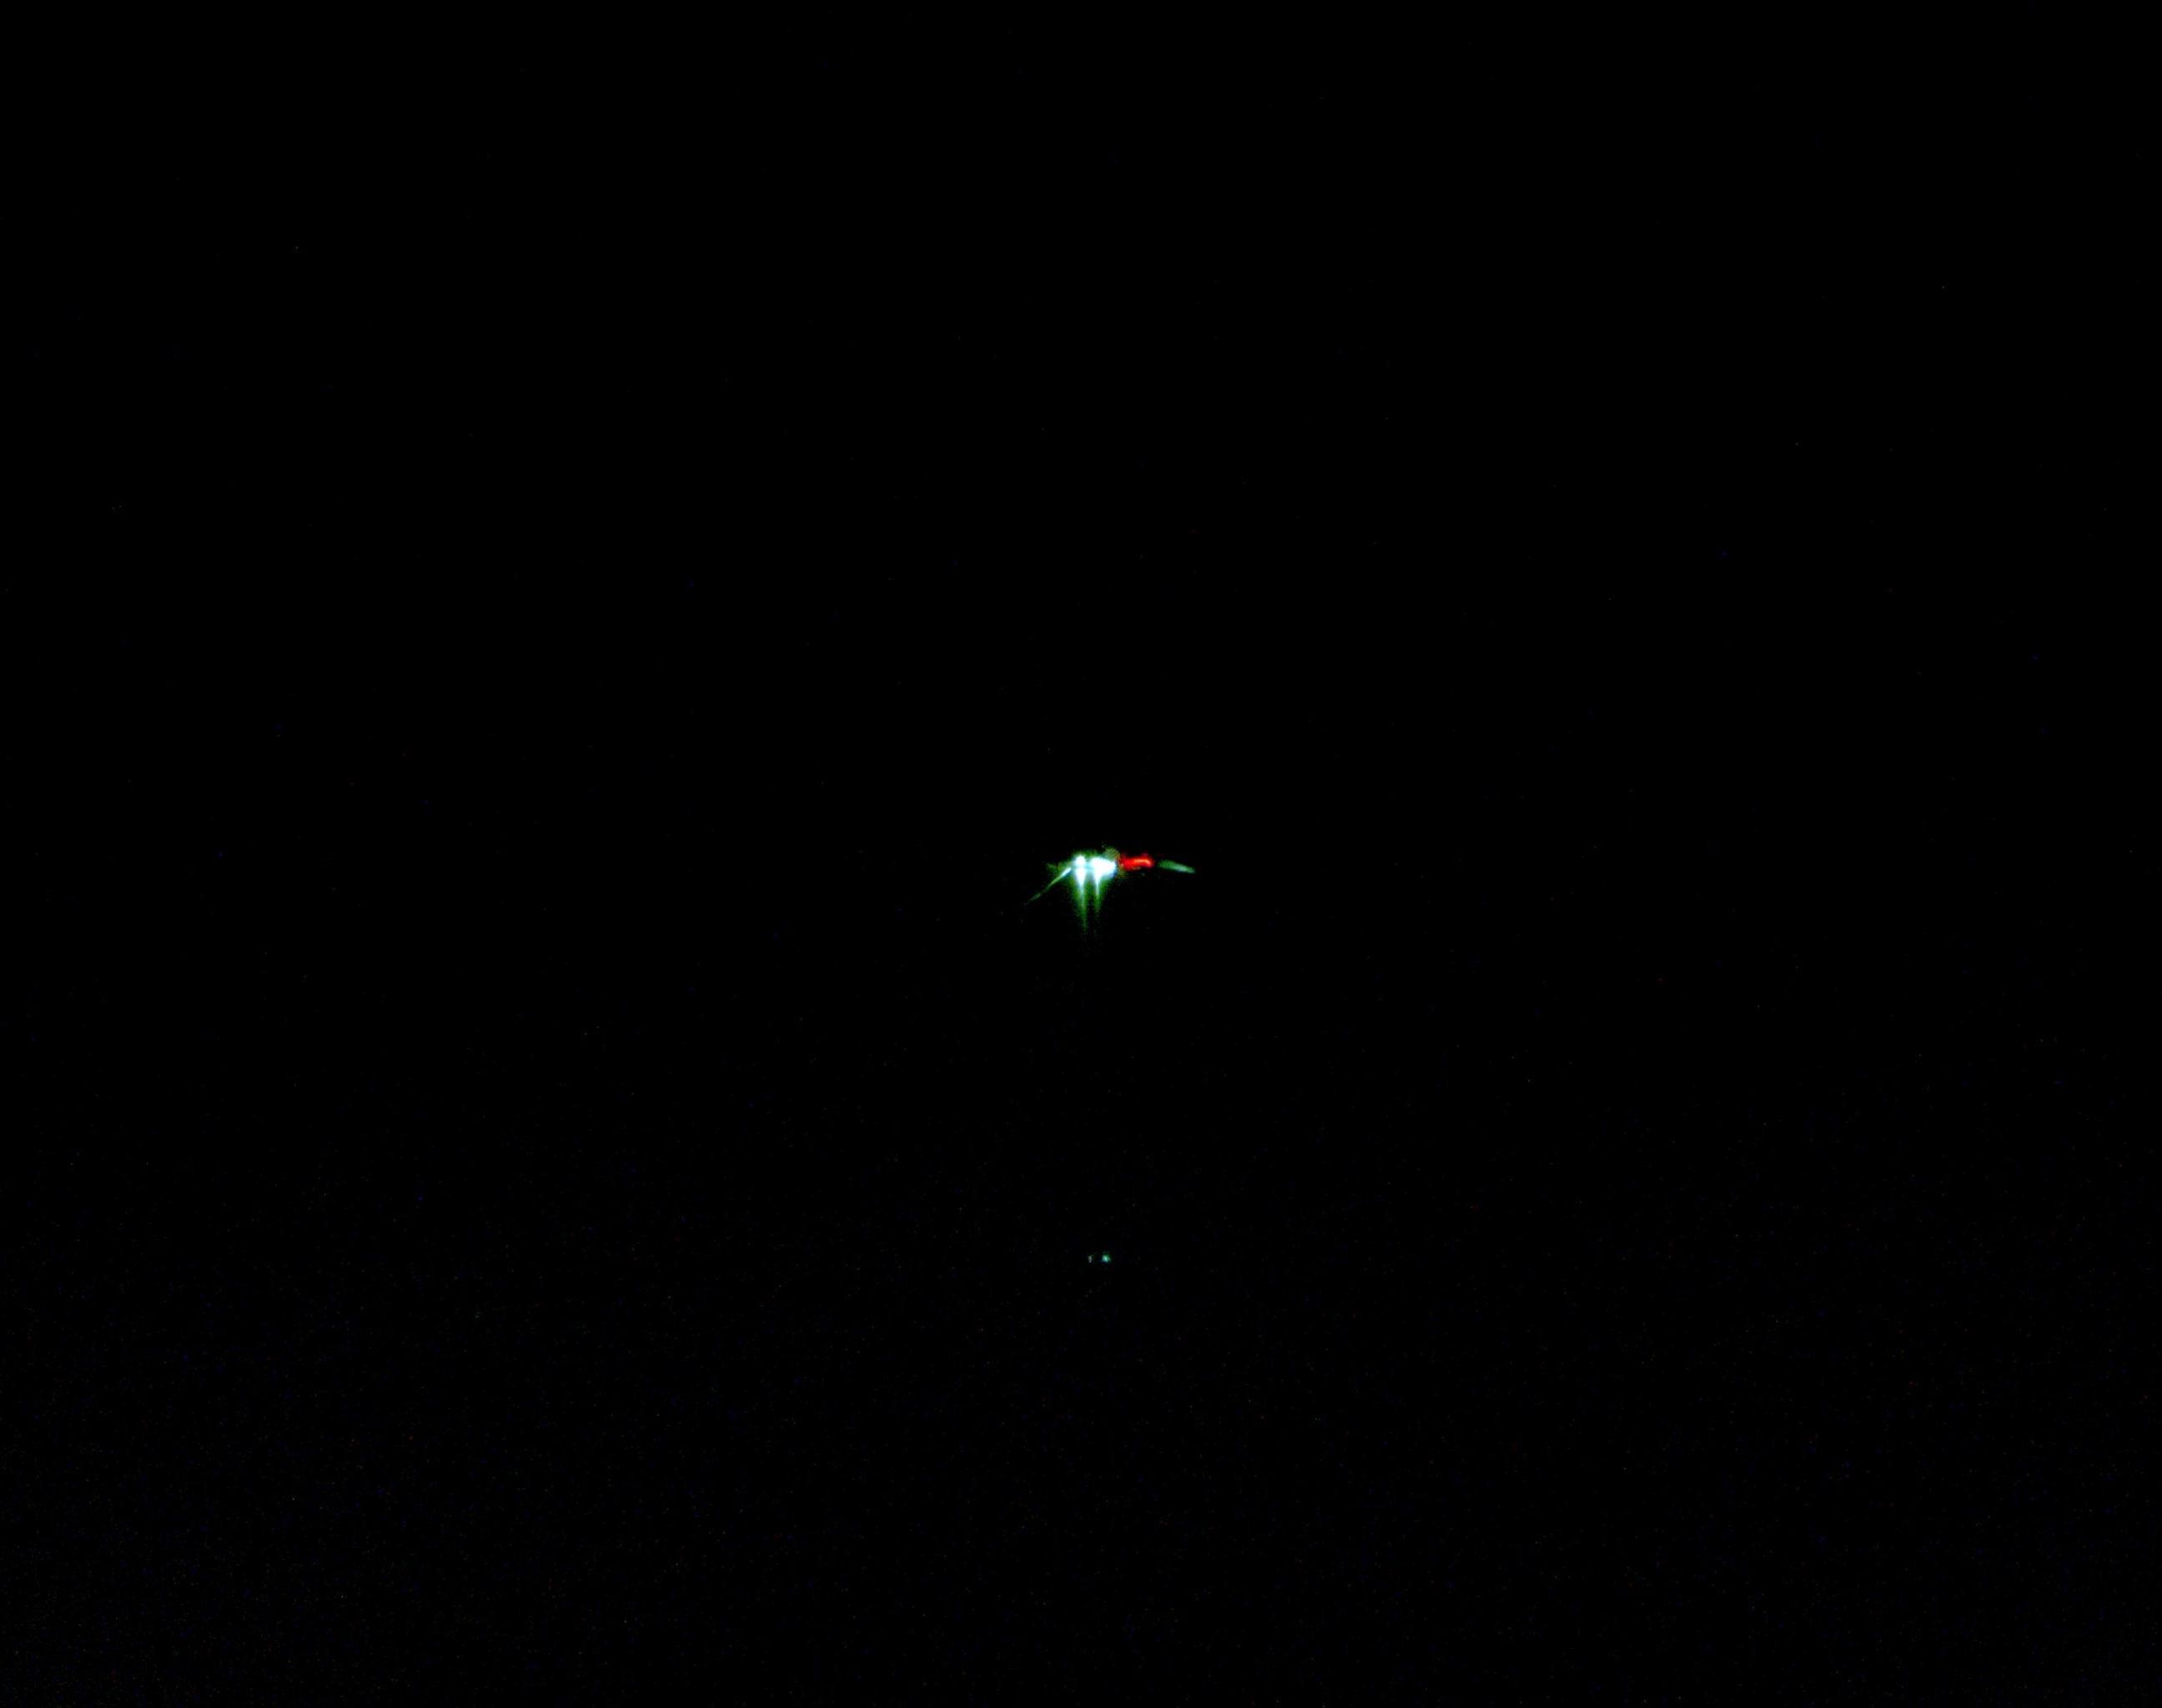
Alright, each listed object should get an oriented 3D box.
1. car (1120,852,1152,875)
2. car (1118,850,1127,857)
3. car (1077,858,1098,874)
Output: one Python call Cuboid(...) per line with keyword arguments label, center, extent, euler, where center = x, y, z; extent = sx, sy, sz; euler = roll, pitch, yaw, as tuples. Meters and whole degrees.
Cuboid(label="car", center=(3.991, 0.643, 55.688), extent=(2.102, 1.630, 4.455), euler=(0, 1, 1))
Cuboid(label="car", center=(9.452, -0.051, 172.220), extent=(1.834, 1.559, 3.780), euler=(0, 1, 2))
Cuboid(label="car", center=(0.776, 1.327, 84.518), extent=(1.998, 1.724, 4.001), euler=(2, 0, 5))
